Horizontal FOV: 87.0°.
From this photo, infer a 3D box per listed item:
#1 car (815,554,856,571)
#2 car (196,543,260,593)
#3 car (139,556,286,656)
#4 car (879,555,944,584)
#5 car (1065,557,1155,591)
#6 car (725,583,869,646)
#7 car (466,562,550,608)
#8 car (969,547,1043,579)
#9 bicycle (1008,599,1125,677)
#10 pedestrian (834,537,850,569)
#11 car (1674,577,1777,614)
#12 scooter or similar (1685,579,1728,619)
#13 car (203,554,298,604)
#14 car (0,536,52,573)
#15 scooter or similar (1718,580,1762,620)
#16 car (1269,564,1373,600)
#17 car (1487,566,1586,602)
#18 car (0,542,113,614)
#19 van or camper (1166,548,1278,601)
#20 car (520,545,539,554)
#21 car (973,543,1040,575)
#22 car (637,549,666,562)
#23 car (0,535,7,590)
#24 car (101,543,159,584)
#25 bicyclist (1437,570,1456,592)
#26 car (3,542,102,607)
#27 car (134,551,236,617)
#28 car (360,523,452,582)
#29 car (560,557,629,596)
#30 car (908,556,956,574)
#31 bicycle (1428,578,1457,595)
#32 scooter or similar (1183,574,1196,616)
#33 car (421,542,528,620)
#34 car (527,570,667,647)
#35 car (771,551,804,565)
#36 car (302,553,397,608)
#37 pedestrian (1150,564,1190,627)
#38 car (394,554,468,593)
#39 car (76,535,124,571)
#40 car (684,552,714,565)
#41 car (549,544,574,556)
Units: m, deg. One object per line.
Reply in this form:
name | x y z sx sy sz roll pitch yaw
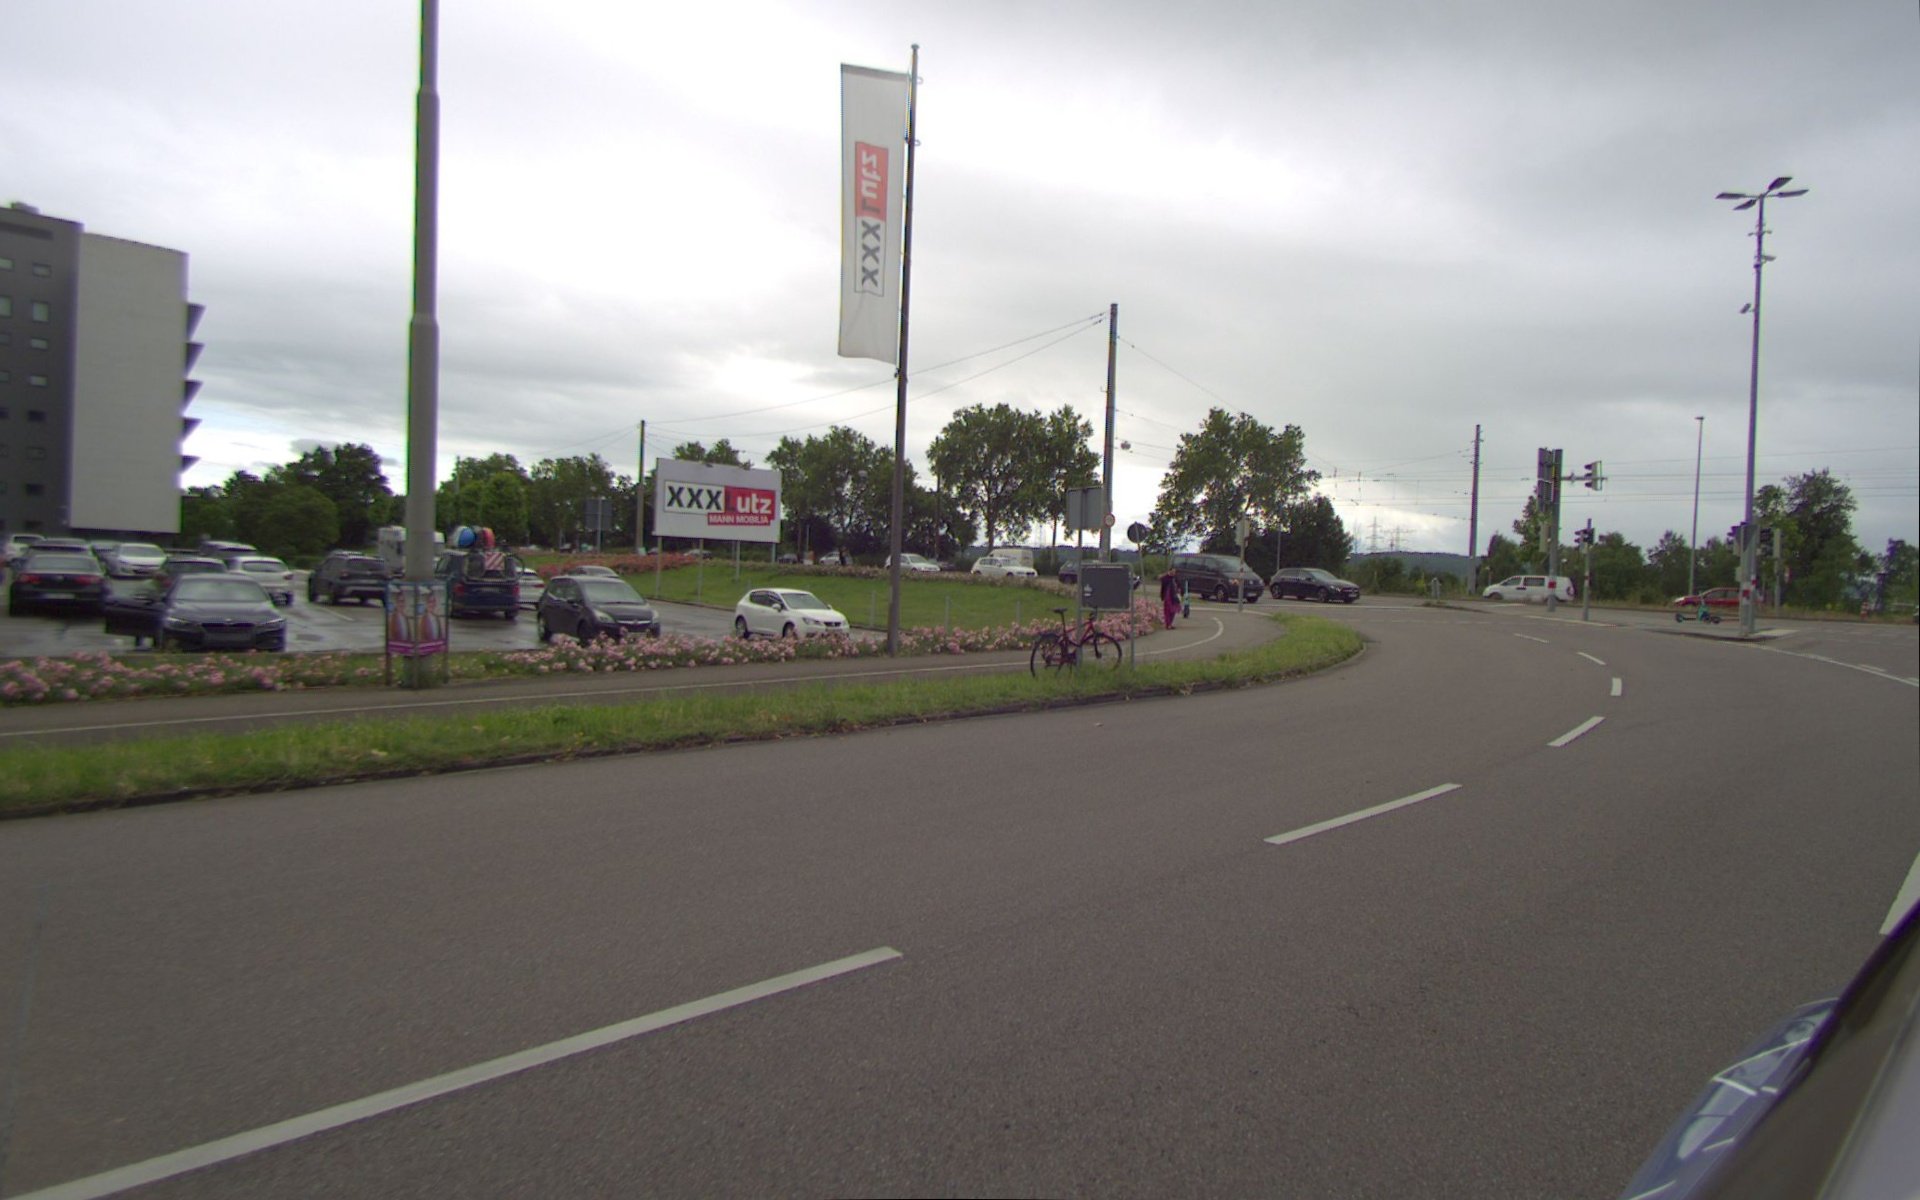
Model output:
car | -12.825 -3.854 103.930 4.184 1.571 1.833 4 1 41
car | -28.558 -1.276 39.444 1.831 1.802 4.222 1 2 -38
car | -13.827 0.014 18.612 1.740 1.603 4.532 0 2 -42
car | -3.005 -1.886 62.503 1.717 1.622 4.067 3 0 -43
car | 7.377 -1.302 50.145 1.931 1.482 4.323 1 2 -36
car | -4.452 0.355 27.202 1.843 1.464 4.113 3 0 -42
car | -16.253 -0.558 36.280 1.714 1.494 4.208 0 2 -39
car | 2.511 -2.057 55.977 1.703 1.558 4.041 3 0 -41
bicycle | 1.558 0.524 14.758 1.659 1.061 0.665 0 2 -35
pedestrian | -6.707 -2.659 57.479 0.627 1.804 0.542 3 -1 21
car | 40.677 -0.237 53.912 4.224 1.672 1.761 4 0 36
scooter or similar | 25.321 -0.050 34.325 0.314 1.271 1.118 -1 3 -27
car | -22.660 -0.691 32.268 3.892 1.486 1.802 2 2 44
car | -43.604 -2.146 47.191 1.621 1.579 3.614 2 2 -39
scooter or similar | 26.129 -0.017 33.894 0.455 1.271 1.020 0 3 -27
car | 15.930 -0.831 44.893 1.800 1.482 4.214 1 2 -28
car | 36.004 -1.018 63.272 5.093 1.903 2.072 4 0 37
car | -21.786 -0.543 24.496 1.965 1.588 3.995 0 2 -40
van or camper | 11.144 -1.142 43.461 2.080 2.037 4.764 -1 4 -25
car | -75.092 -8.780 176.572 1.791 1.499 3.662 3 0 -45
car | 4.273 -3.858 93.968 5.882 2.658 2.622 4 1 44
car | -43.568 -6.322 142.789 4.301 1.581 1.834 3 -1 42
car | -33.967 -1.311 34.558 1.800 1.885 3.996 0 2 -40
car | -34.279 -1.537 41.844 1.746 1.550 3.998 1 2 -39
bicyclist | 33.306 -1.314 69.273 0.962 1.470 0.684 4 4 35
car | -25.370 -0.757 28.403 1.851 1.690 3.997 0 2 -39
car | -20.152 -0.454 26.447 1.910 1.575 4.001 0 2 -35
car | -31.787 -2.680 57.903 2.723 3.027 6.933 3 -1 -45
car | -17.660 -1.128 48.769 1.880 1.778 3.995 0 1 -40
car | -2.595 -3.216 94.005 4.328 1.408 1.848 5 1 42
bicycle | 33.136 -0.960 69.485 1.699 1.058 0.542 4 4 36
scooter or similar | 6.944 -0.165 30.643 0.341 1.248 1.161 0 1 10
car | -15.015 -0.651 31.144 2.082 2.192 5.053 0 2 -36
car | -8.604 0.167 23.817 1.738 1.603 4.100 2 0 -40
car | -20.272 -4.920 119.104 1.711 1.497 4.310 3 0 -43
car | -20.233 -0.675 33.474 1.966 1.696 3.993 0 2 -42
pedestrian | 5.544 -0.126 26.748 0.702 1.616 0.785 -1 3 -24
car | -22.748 -1.146 43.462 1.803 1.535 3.991 0 3 -44
car | -41.282 -2.282 48.634 1.621 1.579 3.614 2 2 -39
car | -33.041 -5.244 127.958 1.967 1.645 3.991 0 2 -43
car | -61.829 -7.739 156.900 4.299 1.657 1.811 4 1 40
